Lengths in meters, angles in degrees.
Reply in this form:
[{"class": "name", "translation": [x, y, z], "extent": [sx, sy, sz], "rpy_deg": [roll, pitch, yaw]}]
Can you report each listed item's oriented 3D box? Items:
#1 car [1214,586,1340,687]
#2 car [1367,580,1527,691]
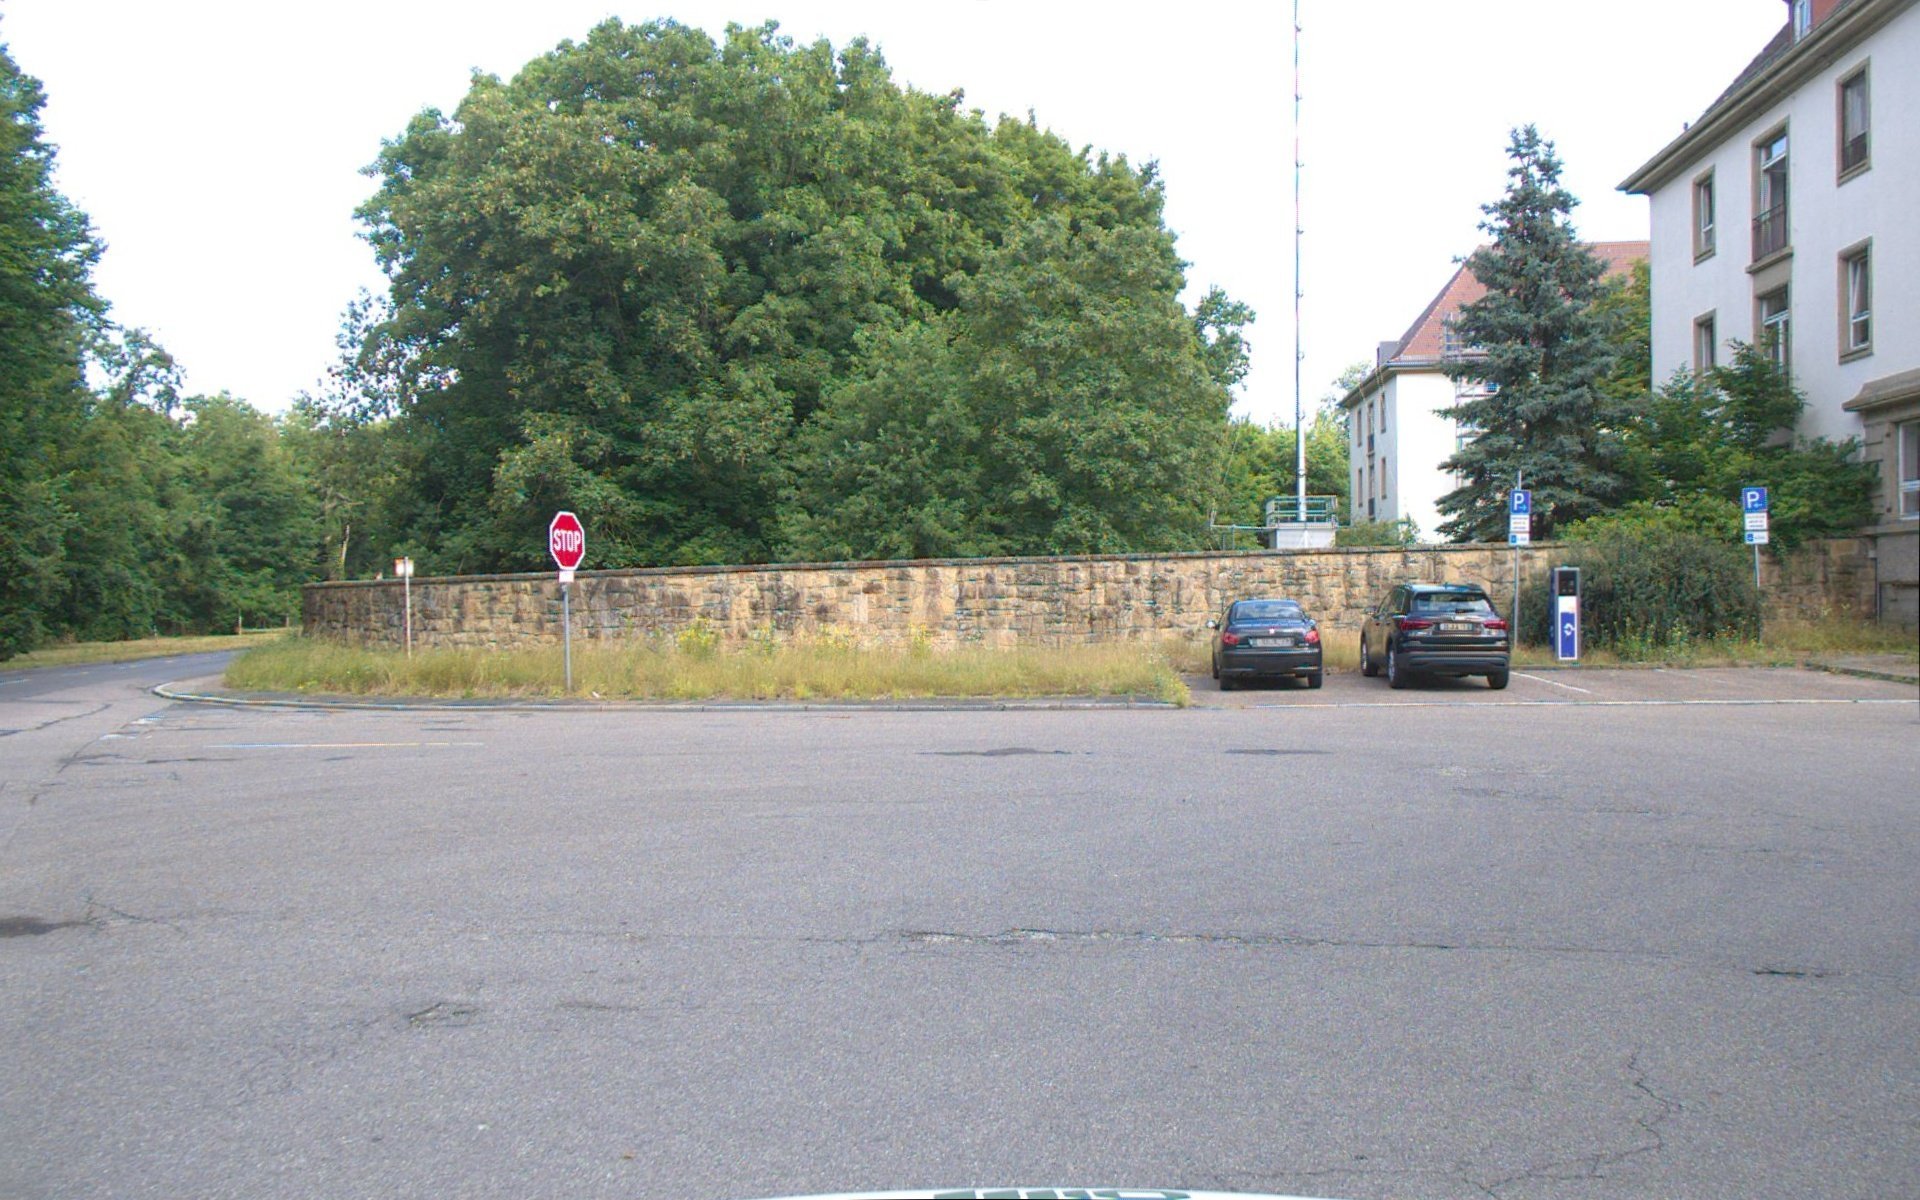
[{"class": "car", "translation": [5.217, 0.551, 27.642], "extent": [1.833, 1.466, 4.004], "rpy_deg": [-1, 1, 8]}, {"class": "car", "translation": [7.796, 0.516, 26.812], "extent": [1.853, 1.573, 4.004], "rpy_deg": [-1, 1, 7]}]
